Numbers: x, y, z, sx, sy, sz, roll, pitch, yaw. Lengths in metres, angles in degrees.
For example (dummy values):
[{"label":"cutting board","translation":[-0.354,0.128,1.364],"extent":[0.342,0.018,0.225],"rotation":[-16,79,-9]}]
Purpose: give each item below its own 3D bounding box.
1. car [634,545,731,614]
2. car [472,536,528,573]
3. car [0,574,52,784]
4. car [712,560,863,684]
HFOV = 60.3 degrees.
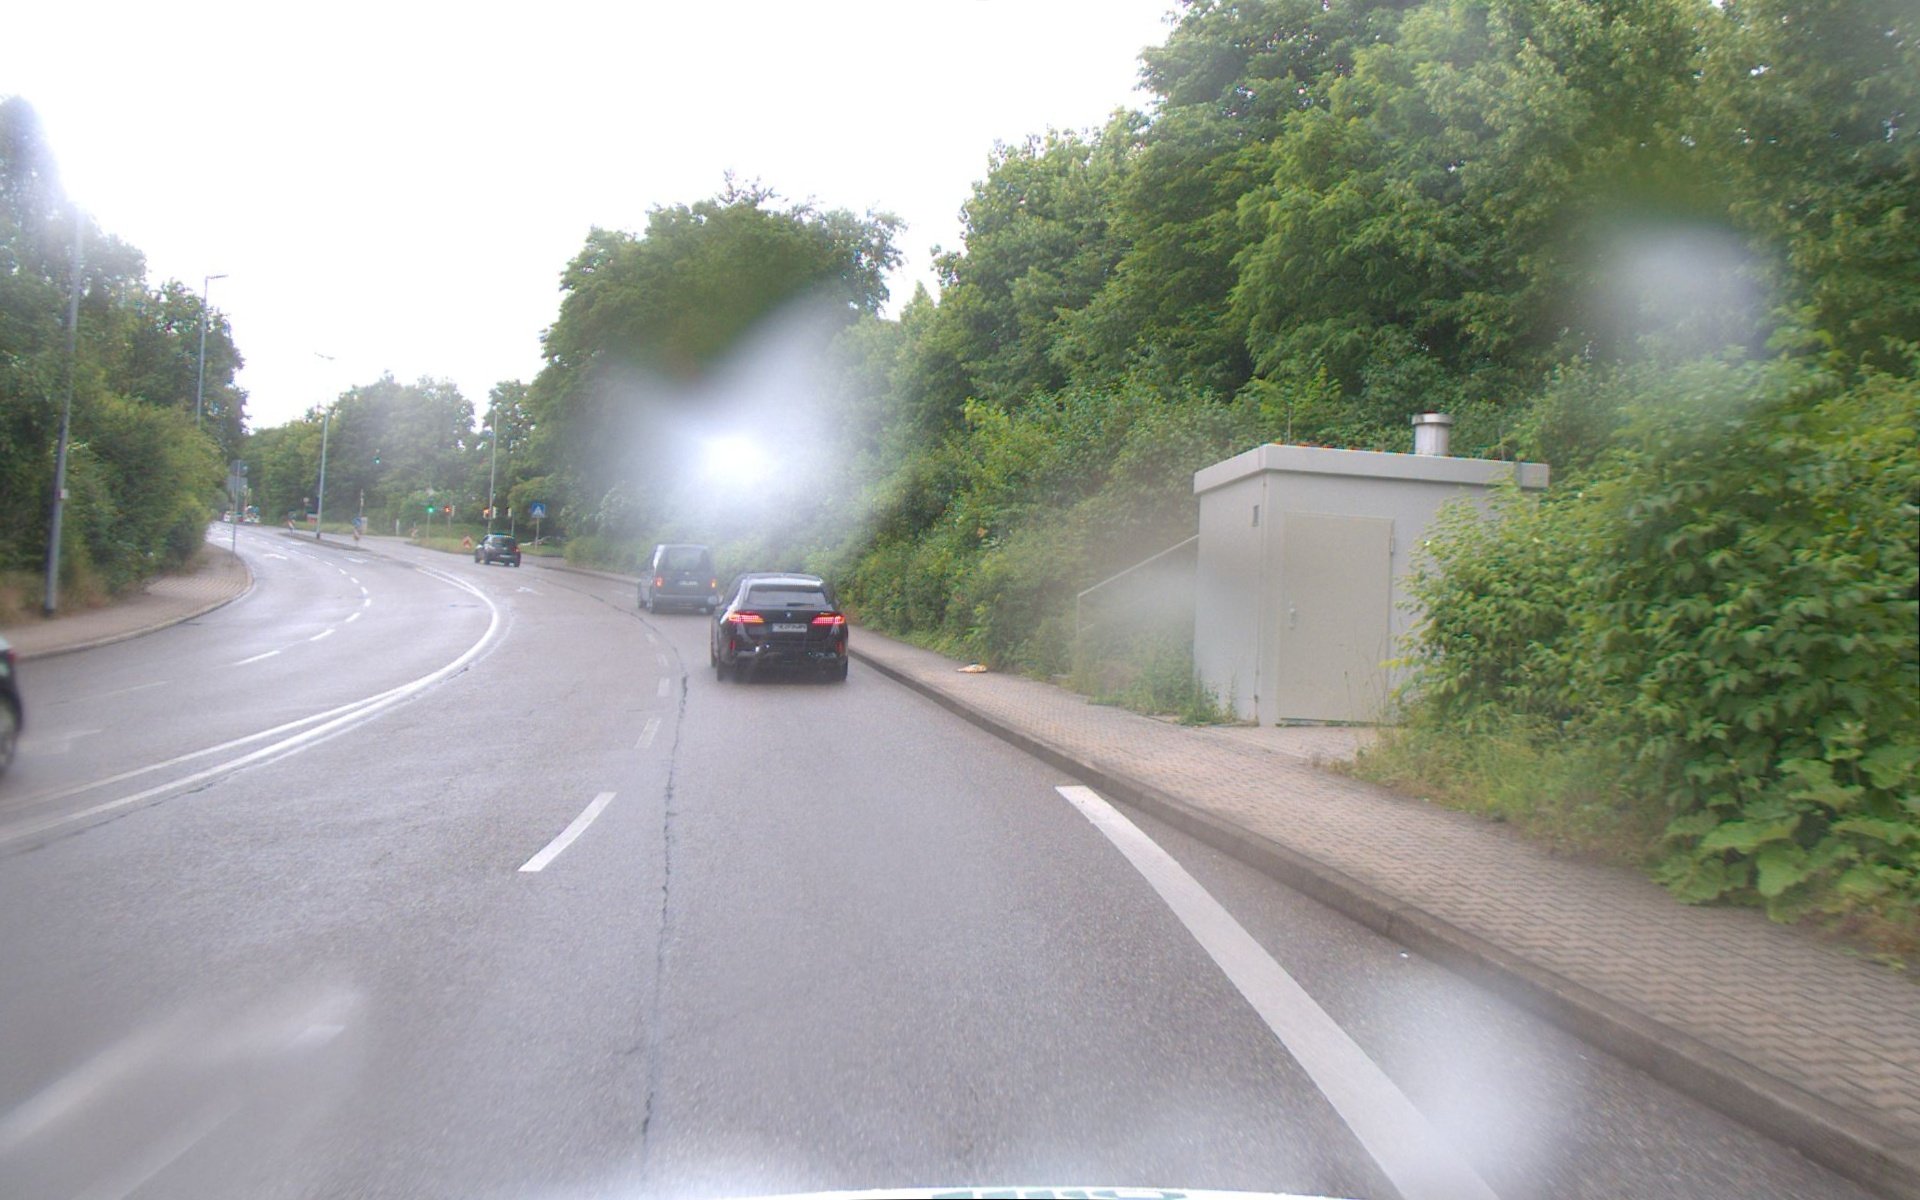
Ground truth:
[{"label":"car","translation":[-7.579,-0.595,44.898],"extent":[1.963,1.779,3.979],"rotation":[1,2,-19]},{"label":"car","translation":[-22.811,-2.230,81.966],"extent":[1.830,1.691,3.963],"rotation":[2,-1,-28]},{"label":"car","translation":[-7.715,0.572,10.614],"extent":[1.856,1.513,4.227],"rotation":[0,0,-7]},{"label":"car","translation":[-2.670,0.273,24.632],"extent":[1.957,1.614,4.653],"rotation":[2,0,-9]}]
